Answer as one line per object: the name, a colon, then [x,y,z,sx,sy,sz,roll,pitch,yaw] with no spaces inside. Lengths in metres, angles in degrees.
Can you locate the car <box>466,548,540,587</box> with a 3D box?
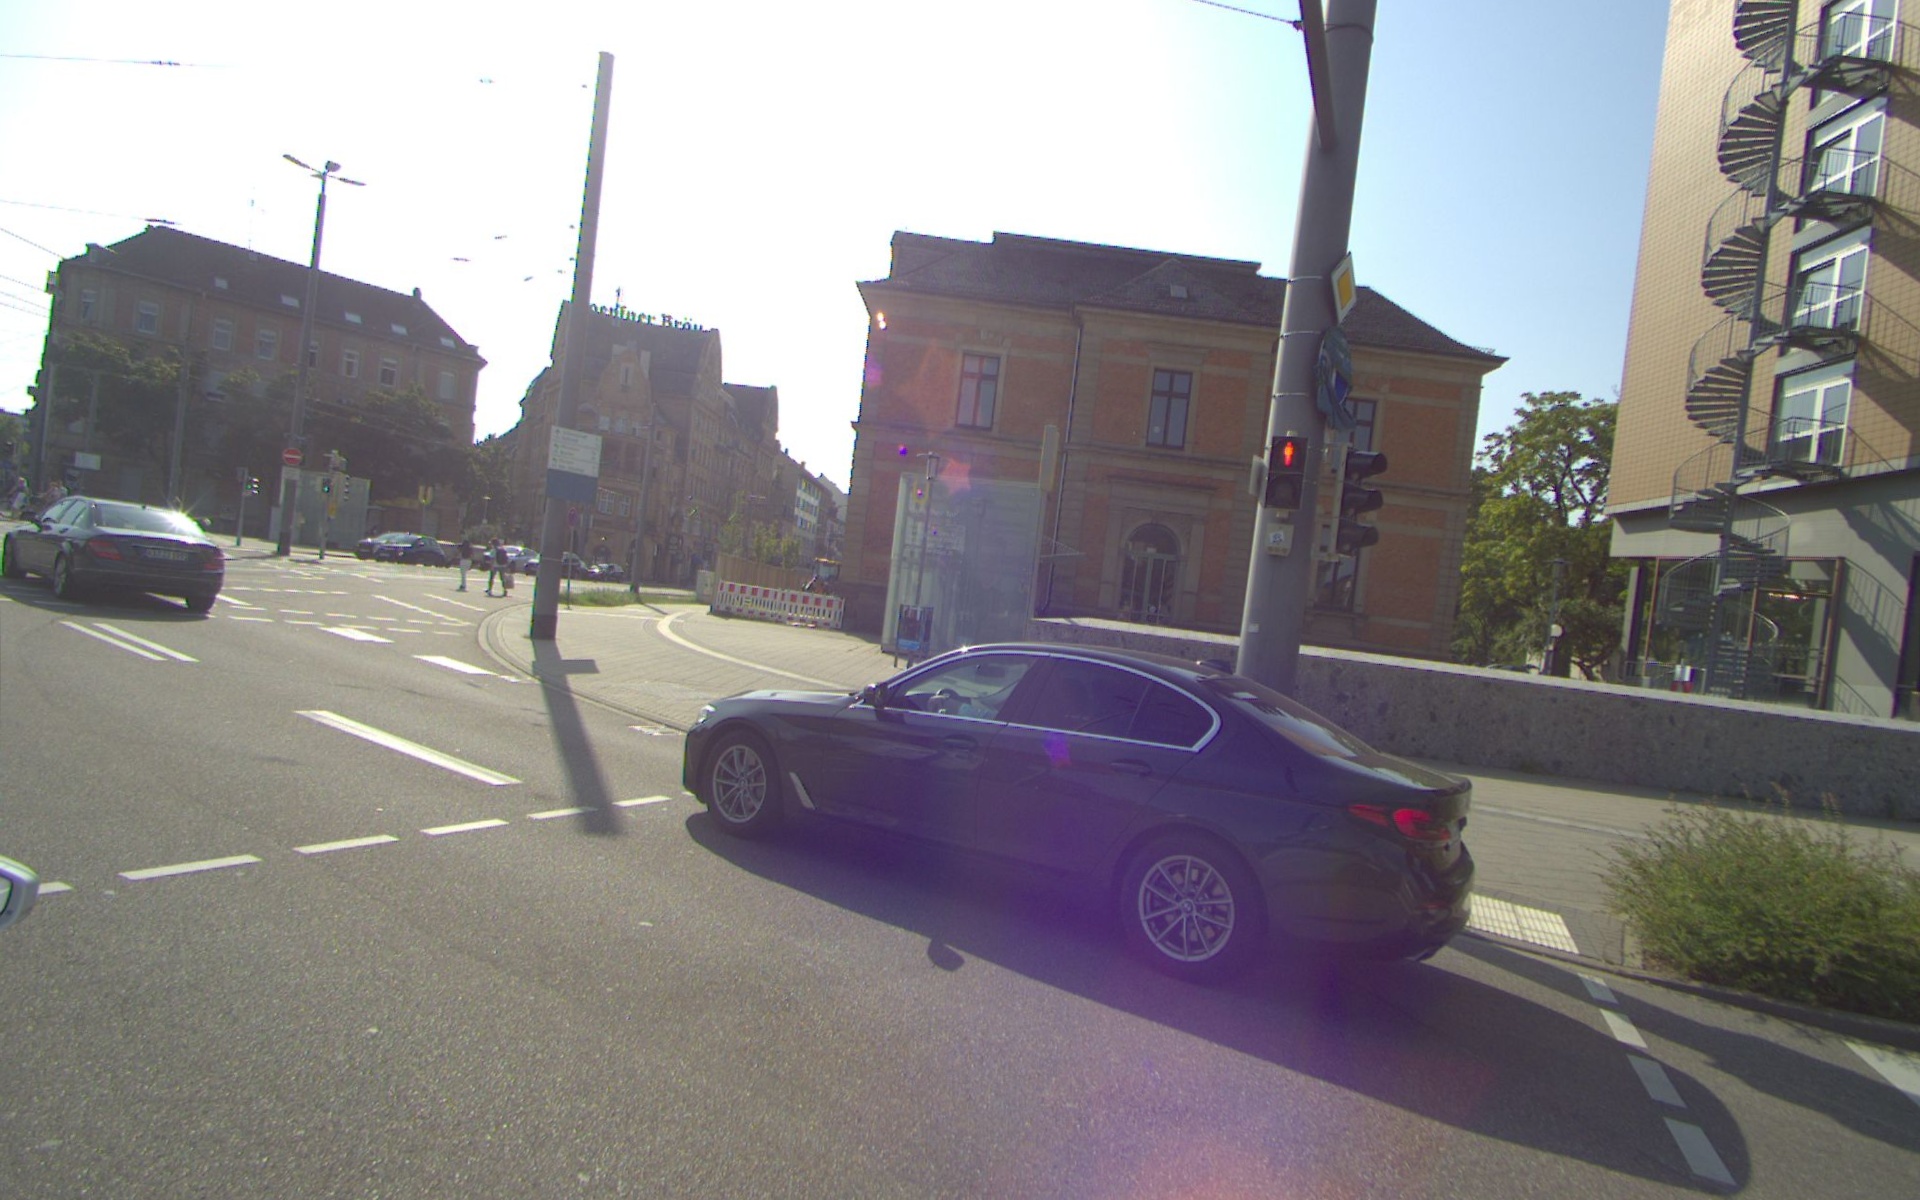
car: [-27.506,-1.920,60.740,2.007,1.881,4.666,7,-1,3]

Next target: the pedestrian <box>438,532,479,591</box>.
pedestrian: [-15.544,-1.184,31.215,0.910,1.711,0.833,7,0,-22]

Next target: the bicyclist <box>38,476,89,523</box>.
bicyclist: [-36.942,-4.132,41.472,1.074,1.730,0.936,7,1,-7]

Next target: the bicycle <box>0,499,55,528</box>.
bicycle: [-40.630,-3.766,43.092,1.072,0.976,2.628,7,0,7]

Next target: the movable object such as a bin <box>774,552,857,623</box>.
movable object such as a bin: [-6.023,-0.472,43.076,2.408,2.472,7.975,7,0,-2]

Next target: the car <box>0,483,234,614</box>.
car: [-12.689,-0.802,14.977,4.304,1.460,1.683,7,0,36]

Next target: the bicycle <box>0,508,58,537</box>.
bicycle: [-38.959,-3.229,41.613,1.074,0.976,2.624,7,0,-6]

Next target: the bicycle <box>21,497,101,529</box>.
bicycle: [-37.009,-3.547,41.479,1.074,0.976,2.624,7,0,-6]

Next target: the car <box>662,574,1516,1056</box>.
car: [0.526,0.889,5.933,4.597,1.510,1.684,7,-1,33]

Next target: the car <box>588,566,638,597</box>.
car: [-25.289,-1.335,73.440,1.896,1.881,4.115,7,-1,3]

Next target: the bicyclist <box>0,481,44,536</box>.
bicyclist: [-38.894,-3.777,41.558,1.074,2.049,0.936,7,1,-7]

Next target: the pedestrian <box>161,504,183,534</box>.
pedestrian: [-41.460,-4.255,52.943,0.538,1.489,0.666,6,1,-14]

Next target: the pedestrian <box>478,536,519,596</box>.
pedestrian: [-14.301,-1.041,31.213,0.909,1.711,0.921,7,0,-20]

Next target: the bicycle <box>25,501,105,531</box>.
bicycle: [-40.774,-3.834,45.879,1.072,0.976,2.628,7,0,7]

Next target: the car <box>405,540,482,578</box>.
car: [-32.278,-2.518,63.047,1.895,1.881,4.276,7,-1,11]

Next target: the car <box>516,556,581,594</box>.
car: [-24.593,-1.453,60.290,1.875,1.881,4.070,7,-1,3]

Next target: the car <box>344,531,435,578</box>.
car: [-28.724,-2.229,50.810,1.874,1.881,4.252,7,-1,3]

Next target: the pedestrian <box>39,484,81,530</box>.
pedestrian: [-39.047,-4.042,43.664,0.845,1.819,0.926,7,1,-10]

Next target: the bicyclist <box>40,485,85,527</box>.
bicyclist: [-40.742,-4.248,45.678,1.072,1.701,0.937,7,1,7]

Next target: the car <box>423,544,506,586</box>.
car: [-28.069,-1.930,57.164,1.874,1.881,4.712,7,-1,5]

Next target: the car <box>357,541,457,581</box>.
car: [-25.985,-1.799,47.445,1.985,1.414,4.389,7,-1,3]

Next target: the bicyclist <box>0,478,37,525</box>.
bicyclist: [-40.576,-4.223,43.068,1.072,1.822,0.937,7,1,7]
